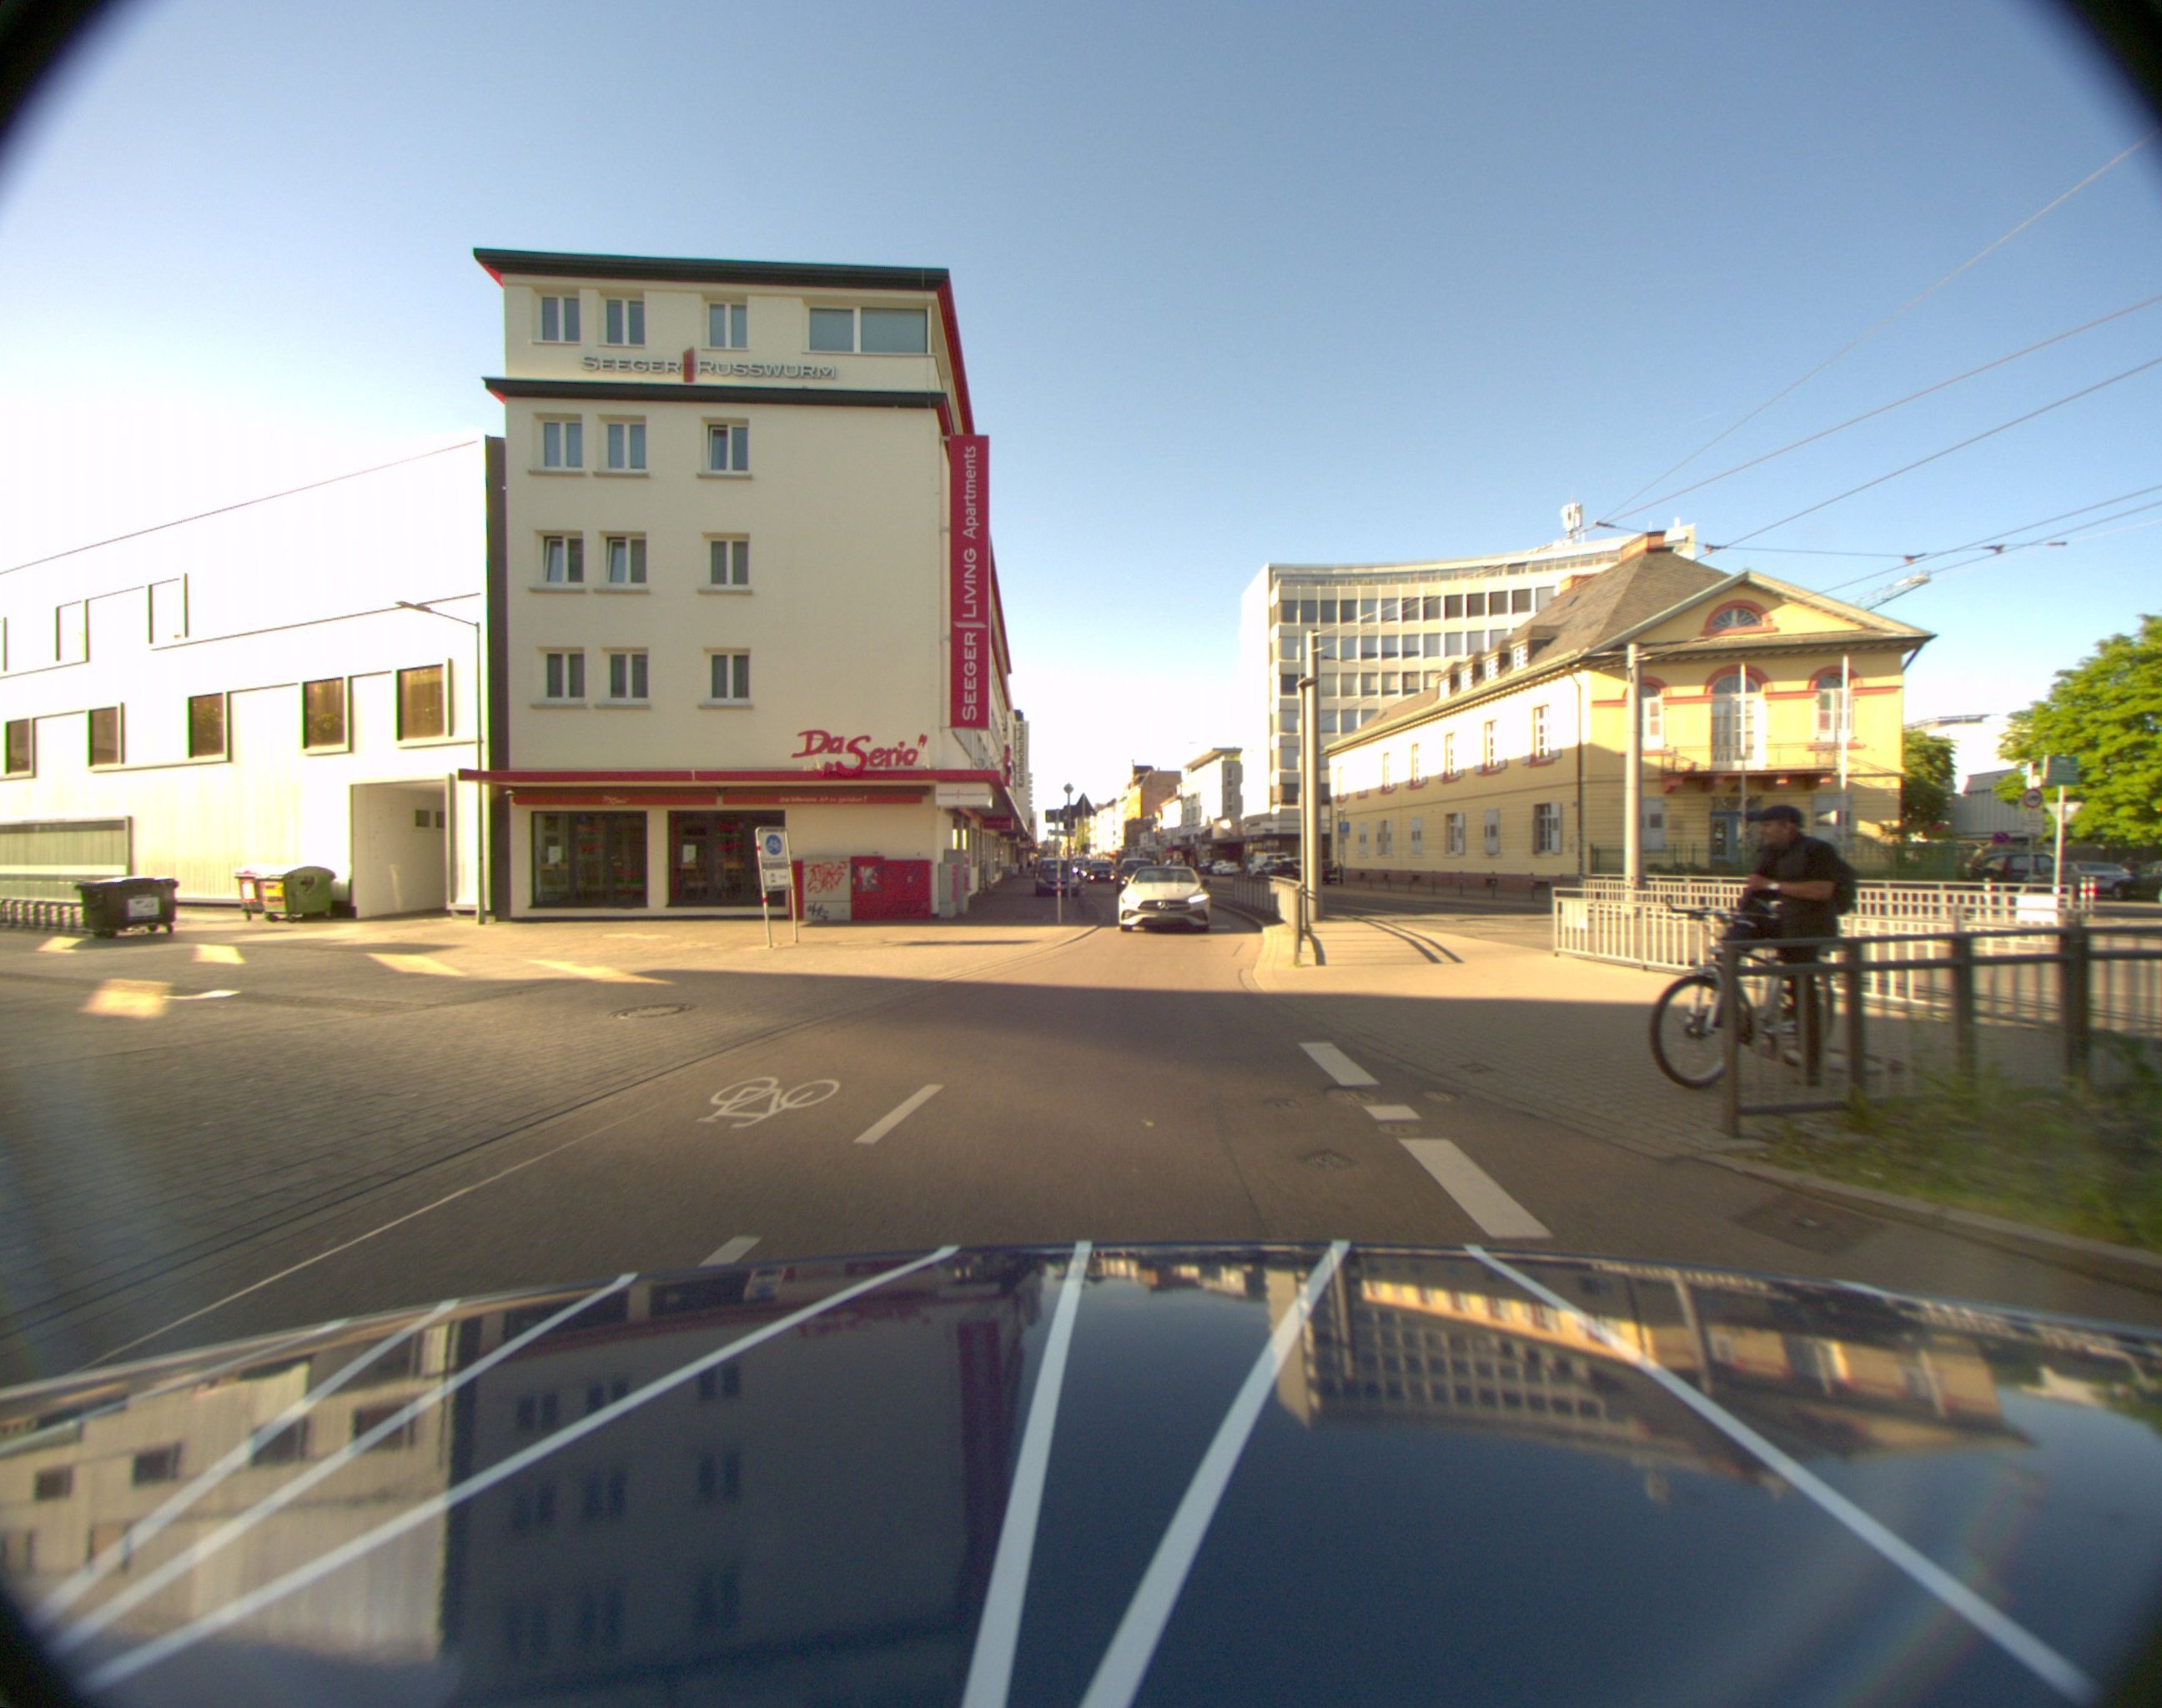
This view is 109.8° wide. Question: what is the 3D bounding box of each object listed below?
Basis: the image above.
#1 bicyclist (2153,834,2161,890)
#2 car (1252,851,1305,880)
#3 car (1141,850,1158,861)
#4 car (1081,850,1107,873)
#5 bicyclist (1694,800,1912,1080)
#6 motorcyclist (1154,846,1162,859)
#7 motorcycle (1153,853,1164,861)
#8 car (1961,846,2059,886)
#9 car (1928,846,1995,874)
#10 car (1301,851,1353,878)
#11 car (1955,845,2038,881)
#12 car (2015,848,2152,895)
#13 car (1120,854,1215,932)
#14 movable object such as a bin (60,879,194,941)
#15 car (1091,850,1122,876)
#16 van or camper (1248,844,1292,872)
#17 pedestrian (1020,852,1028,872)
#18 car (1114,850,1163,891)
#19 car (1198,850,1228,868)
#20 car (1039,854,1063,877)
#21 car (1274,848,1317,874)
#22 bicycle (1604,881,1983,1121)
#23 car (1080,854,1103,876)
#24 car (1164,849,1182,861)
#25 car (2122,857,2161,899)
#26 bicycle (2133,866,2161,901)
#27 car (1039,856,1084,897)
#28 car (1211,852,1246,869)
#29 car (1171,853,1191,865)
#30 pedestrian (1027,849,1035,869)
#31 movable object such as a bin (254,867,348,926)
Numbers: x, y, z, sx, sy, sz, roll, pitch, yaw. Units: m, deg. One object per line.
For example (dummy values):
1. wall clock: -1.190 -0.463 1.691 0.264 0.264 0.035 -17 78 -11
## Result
1. bicyclist: 32.483 0.249 22.484 0.521 1.664 0.771 0 2 22
2. car: 11.542 0.612 44.618 1.690 1.551 4.119 -1 1 -6
3. car: 9.249 0.164 102.360 1.781 1.501 4.669 1 0 -1
4. car: 0.969 0.583 58.871 1.738 1.654 3.959 1 1 -2
5. bicyclist: 4.213 0.460 4.476 0.683 1.514 0.634 -1 1 -9
6. motorcyclist: 9.422 -0.155 92.916 0.654 1.550 0.883 -1 1 -11
7. motorcycle: 9.457 0.310 92.801 0.601 0.921 2.153 -1 1 -12
8. car: 41.669 0.503 34.197 1.797 1.660 3.763 0 1 34
9. car: 55.722 0.320 48.186 1.797 1.660 3.763 0 1 33
10. car: 14.887 0.610 46.199 1.781 1.431 3.959 -2 1 -2
11. car: 45.376 0.391 37.749 1.797 1.660 3.763 0 1 37
12. car: 39.029 0.606 29.729 1.888 1.660 3.871 0 1 31
13. car: 1.828 0.775 17.362 1.868 1.431 4.774 0 1 3
14. movable object such as a bin: -21.857 1.247 17.430 1.646 1.281 1.420 0 1 20
15. car: 1.637 0.566 50.868 1.783 1.654 3.959 1 1 -2
16. van or camper: 14.368 0.281 58.029 1.960 1.962 4.795 -2 1 -3
17. pedestrian: -5.272 0.721 70.759 0.706 1.807 0.807 -1 1 -4
18. car: 2.482 0.677 33.919 1.738 1.654 3.959 1 1 -2
19. car: 13.252 0.445 76.705 1.931 1.632 4.279 -2 1 -5
20. car: -2.365 0.902 60.310 1.783 1.654 4.161 1 1 -2
21. car: 14.633 0.440 52.094 1.781 1.611 4.175 -2 1 0
22. bicycle: 4.150 0.796 4.478 1.826 1.205 0.641 -1 1 -9
23. car: 0.862 0.912 64.538 1.738 1.654 3.780 1 1 -2
24. car: 12.122 0.077 100.035 1.786 1.511 3.831 -1 1 -2
25. car: 36.425 0.796 24.805 1.646 1.339 3.767 0 1 33
26. bicycle: 32.523 0.892 22.580 0.530 1.007 1.888 0 1 22
27. car: -0.860 0.911 32.496 1.781 1.560 3.959 1 1 -2
28. car: 13.738 0.578 71.059 1.931 1.444 4.290 -2 1 -6
29. car: 12.487 0.651 94.697 1.786 1.409 3.595 -1 1 -4
30. pedestrian: -4.546 0.454 69.394 0.738 1.807 0.748 -1 1 -4
31. movable object such as a bin: -20.229 1.071 19.727 1.217 1.432 1.284 0 1 20
